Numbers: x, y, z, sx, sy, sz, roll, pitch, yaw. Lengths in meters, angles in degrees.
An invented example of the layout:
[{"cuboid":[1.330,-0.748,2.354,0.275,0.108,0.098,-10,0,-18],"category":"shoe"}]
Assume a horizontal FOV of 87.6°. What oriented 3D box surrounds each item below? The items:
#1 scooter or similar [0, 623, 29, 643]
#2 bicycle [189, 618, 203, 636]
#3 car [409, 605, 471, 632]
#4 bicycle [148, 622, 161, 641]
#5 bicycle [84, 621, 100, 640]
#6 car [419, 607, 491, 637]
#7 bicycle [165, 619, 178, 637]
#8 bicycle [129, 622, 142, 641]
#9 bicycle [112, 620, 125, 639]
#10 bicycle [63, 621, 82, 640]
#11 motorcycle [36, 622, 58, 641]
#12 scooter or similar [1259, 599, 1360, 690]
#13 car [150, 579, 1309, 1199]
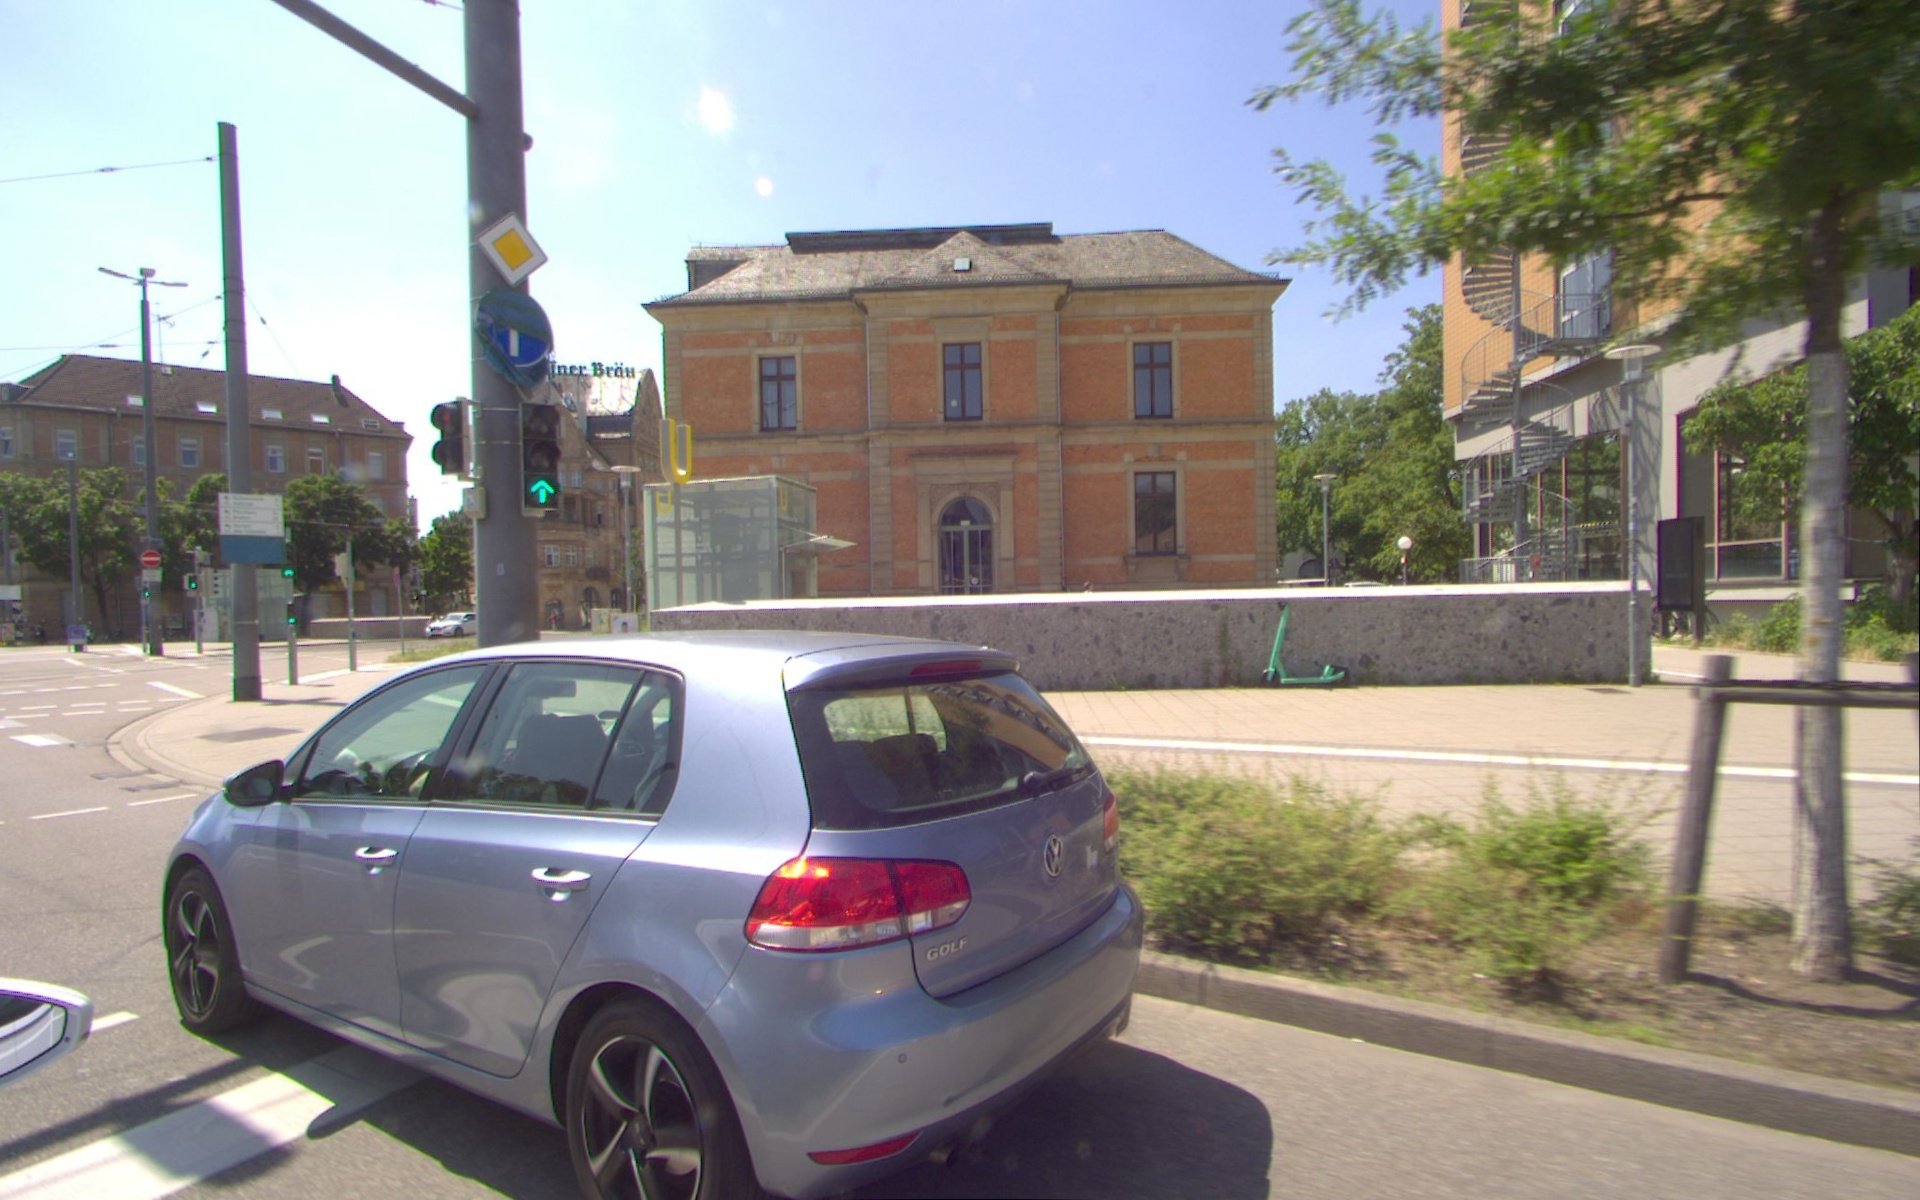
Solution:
[{"cuboid":[-56.615,1.962,59.526,0.588,1.197,1.791,-1,0,12],"category":"scooter or similar"},{"cuboid":[-49.423,1.744,64.773,0.547,1.134,1.913,-1,0,-41],"category":"bicycle"},{"cuboid":[-33.344,1.172,64.334,1.662,1.626,3.651,-1,0,9],"category":"car"},{"cuboid":[-50.362,1.942,62.577,0.547,1.134,1.873,-1,0,-41],"category":"bicycle"},{"cuboid":[-52.408,1.845,60.456,2.069,1.160,0.440,-2,-2,40],"category":"bicycle"},{"cuboid":[-29.895,1.277,59.455,1.662,1.626,4.191,-1,0,9],"category":"car"},{"cuboid":[-50.146,1.770,63.693,0.547,1.134,1.854,-1,0,-41],"category":"bicycle"},{"cuboid":[-50.916,1.919,61.846,0.547,1.134,1.804,-1,0,-41],"category":"bicycle"},{"cuboid":[-51.552,1.790,61.351,0.547,1.134,1.804,-1,0,-41],"category":"bicycle"},{"cuboid":[-52.861,1.810,59.643,1.798,1.134,0.548,-1,0,40],"category":"bicycle"},{"cuboid":[-53.579,1.845,58.738,1.921,1.089,0.578,-1,0,37],"category":"motorcycle"},{"cuboid":[4.677,0.595,13.459,1.227,1.186,0.458,-1,1,13],"category":"scooter or similar"},{"cuboid":[-1.042,0.759,3.429,3.949,1.478,1.647,-1,-2,34],"category":"car"}]
